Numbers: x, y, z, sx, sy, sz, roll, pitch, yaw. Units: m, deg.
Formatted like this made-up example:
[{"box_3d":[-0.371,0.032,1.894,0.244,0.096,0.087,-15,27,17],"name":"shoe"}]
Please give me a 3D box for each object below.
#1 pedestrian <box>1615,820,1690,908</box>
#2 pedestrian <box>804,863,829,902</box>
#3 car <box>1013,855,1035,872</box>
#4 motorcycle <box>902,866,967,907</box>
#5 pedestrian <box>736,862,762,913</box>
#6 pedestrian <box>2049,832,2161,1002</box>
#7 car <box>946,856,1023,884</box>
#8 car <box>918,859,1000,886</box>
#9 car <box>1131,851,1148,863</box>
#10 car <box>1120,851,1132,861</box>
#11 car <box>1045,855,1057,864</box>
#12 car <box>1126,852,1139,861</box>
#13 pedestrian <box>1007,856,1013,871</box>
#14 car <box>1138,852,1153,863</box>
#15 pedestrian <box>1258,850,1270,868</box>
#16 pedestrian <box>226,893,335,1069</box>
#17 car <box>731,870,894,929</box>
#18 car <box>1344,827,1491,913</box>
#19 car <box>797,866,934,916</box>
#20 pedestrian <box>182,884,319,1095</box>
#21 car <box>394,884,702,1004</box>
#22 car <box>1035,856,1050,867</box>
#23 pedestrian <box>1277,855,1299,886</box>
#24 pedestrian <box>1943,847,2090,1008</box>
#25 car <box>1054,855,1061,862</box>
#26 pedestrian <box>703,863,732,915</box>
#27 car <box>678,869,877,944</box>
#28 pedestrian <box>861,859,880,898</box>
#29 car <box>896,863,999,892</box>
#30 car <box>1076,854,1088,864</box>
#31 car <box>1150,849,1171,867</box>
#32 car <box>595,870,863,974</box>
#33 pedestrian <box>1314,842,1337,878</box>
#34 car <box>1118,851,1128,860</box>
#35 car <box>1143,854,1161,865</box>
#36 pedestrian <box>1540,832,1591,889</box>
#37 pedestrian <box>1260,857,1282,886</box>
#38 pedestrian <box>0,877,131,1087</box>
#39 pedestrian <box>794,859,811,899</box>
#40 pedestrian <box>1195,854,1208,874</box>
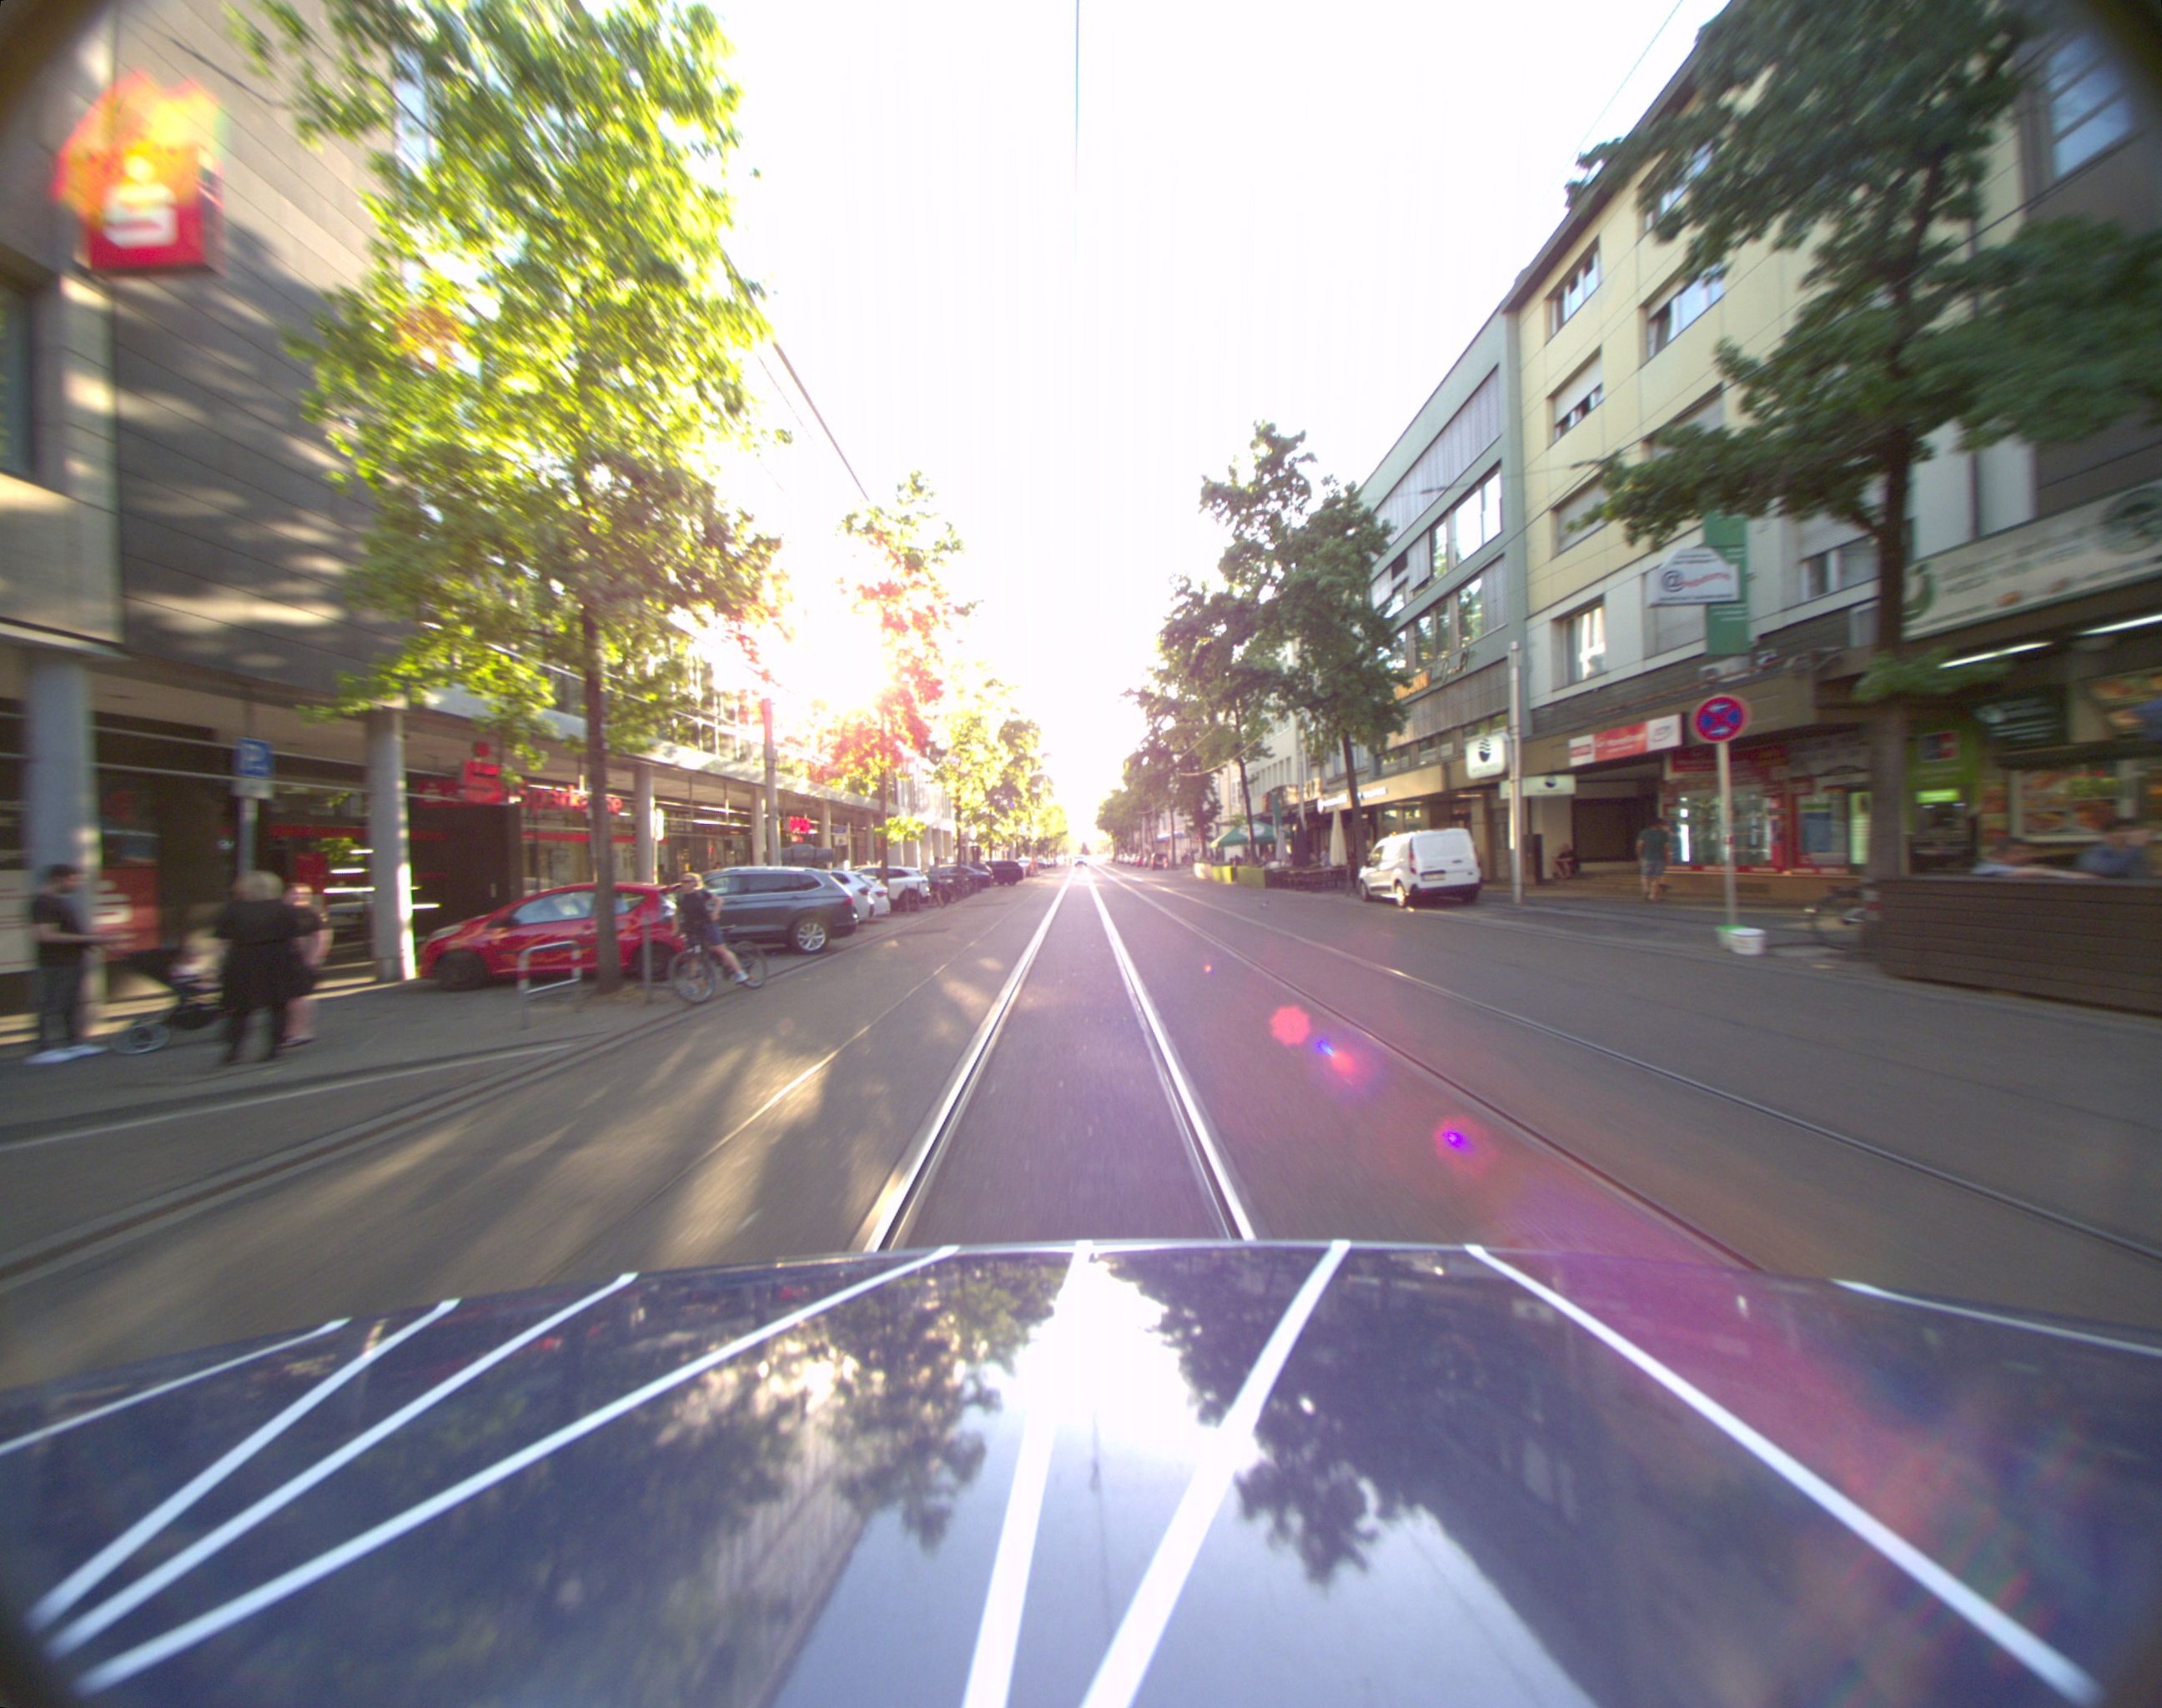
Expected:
[{"box_3d":[11.612,0.199,15.480,0.668,1.676,1.005,-4,1,0],"name":"pedestrian"},{"box_3d":[-11.035,1.183,31.734,0.716,1.614,0.882,-1,0,1],"name":"pedestrian"},{"box_3d":[-6.007,1.000,80.422,2.028,1.727,4.906,0,0,-1],"name":"car"},{"box_3d":[-5.612,1.219,29.200,2.324,1.501,0.856,0,1,-43],"name":"motorcycle"},{"box_3d":[-11.362,1.132,26.007,0.626,1.733,0.599,-1,1,-2],"name":"pedestrian"},{"box_3d":[9.245,0.530,6.730,0.551,1.421,0.582,-3,1,-1],"name":"pedestrian"},{"box_3d":[-6.431,1.052,50.540,4.674,1.753,1.990,0,0,-29],"name":"car"},{"box_3d":[-7.577,1.123,47.264,4.673,1.645,2.004,0,0,-24],"name":"car"},{"box_3d":[8.763,0.406,114.025,1.870,1.679,4.950,-5,0,-3],"name":"car"},{"box_3d":[8.954,0.369,151.766,1.952,1.731,4.765,-5,0,0],"name":"car"},{"box_3d":[-5.309,0.995,132.834,1.770,1.502,4.286,-3,0,1],"name":"car"},{"box_3d":[8.885,0.474,132.405,1.897,1.458,4.616,-5,0,1],"name":"car"},{"box_3d":[-8.798,1.157,94.193,0.690,1.820,0.634,-2,1,0],"name":"pedestrian"},{"box_3d":[8.888,0.454,104.248,1.664,1.397,4.141,-5,0,1],"name":"car"},{"box_3d":[12.075,0.327,50.029,0.554,1.155,0.687,-4,1,1],"name":"pedestrian"},{"box_3d":[-7.714,1.174,7.341,0.606,1.543,0.691,1,1,44],"name":"pedestrian"},{"box_3d":[-7.509,1.210,21.327,4.165,1.490,1.685,0,0,-23],"name":"car"},{"box_3d":[8.620,0.366,19.951,1.800,1.853,4.553,-5,0,1],"name":"car"},{"box_3d":[-7.311,1.198,25.885,4.167,1.562,1.849,0,0,-33],"name":"car"},{"box_3d":[-7.226,1.113,6.619,0.679,1.675,0.697,0,1,34],"name":"pedestrian"},{"box_3d":[-7.631,1.231,11.274,3.402,1.472,1.664,0,0,-19],"name":"car"},{"box_3d":[-5.868,1.136,115.235,1.985,1.678,4.873,0,0,0],"name":"car"},{"box_3d":[9.176,0.724,33.668,0.658,1.286,0.798,-5,1,0],"name":"pedestrian"},{"box_3d":[8.324,0.628,6.783,0.551,1.348,0.582,-3,1,-1],"name":"pedestrian"},{"box_3d":[-5.328,1.016,174.226,1.564,1.391,3.697,0,0,0],"name":"car"},{"box_3d":[-12.241,1.173,25.602,0.625,1.733,0.600,-1,1,5],"name":"pedestrian"},{"box_3d":[-7.375,1.188,18.563,4.256,1.578,1.880,0,0,-31],"name":"car"},{"box_3d":[-9.169,1.062,33.068,0.681,1.686,0.549,-2,1,-12],"name":"pedestrian"},{"box_3d":[-7.099,1.221,40.628,5.071,1.460,1.972,1,0,-36],"name":"car"},{"box_3d":[0.188,0.758,125.491,1.827,1.603,3.796,-2,0,1],"name":"car"},{"box_3d":[8.553,0.450,81.920,1.862,1.821,4.559,-3,0,2],"name":"car"},{"box_3d":[-6.538,1.150,14.335,4.364,1.642,1.690,0,0,-31],"name":"car"},{"box_3d":[10.832,0.266,33.689,0.649,1.565,0.700,-5,1,0],"name":"pedestrian"},{"box_3d":[9.163,0.286,166.640,1.932,1.946,4.765,-2,0,0],"name":"car"},{"box_3d":[8.861,0.637,95.400,1.722,1.238,4.507,-5,0,0],"name":"car"},{"box_3d":[13.167,0.164,20.665,0.771,1.458,0.765,-5,1,-2],"name":"pedestrian"},{"box_3d":[8.430,0.772,33.684,0.658,1.237,0.872,-5,1,0],"name":"pedestrian"},{"box_3d":[-9.035,1.078,6.786,0.687,1.721,0.634,1,1,42],"name":"pedestrian"},{"box_3d":[-12.260,1.098,33.467,0.558,1.740,0.525,0,1,0],"name":"pedestrian"},{"box_3d":[8.325,0.692,52.664,0.691,1.378,0.807,-4,1,1],"name":"pedestrian"}]
